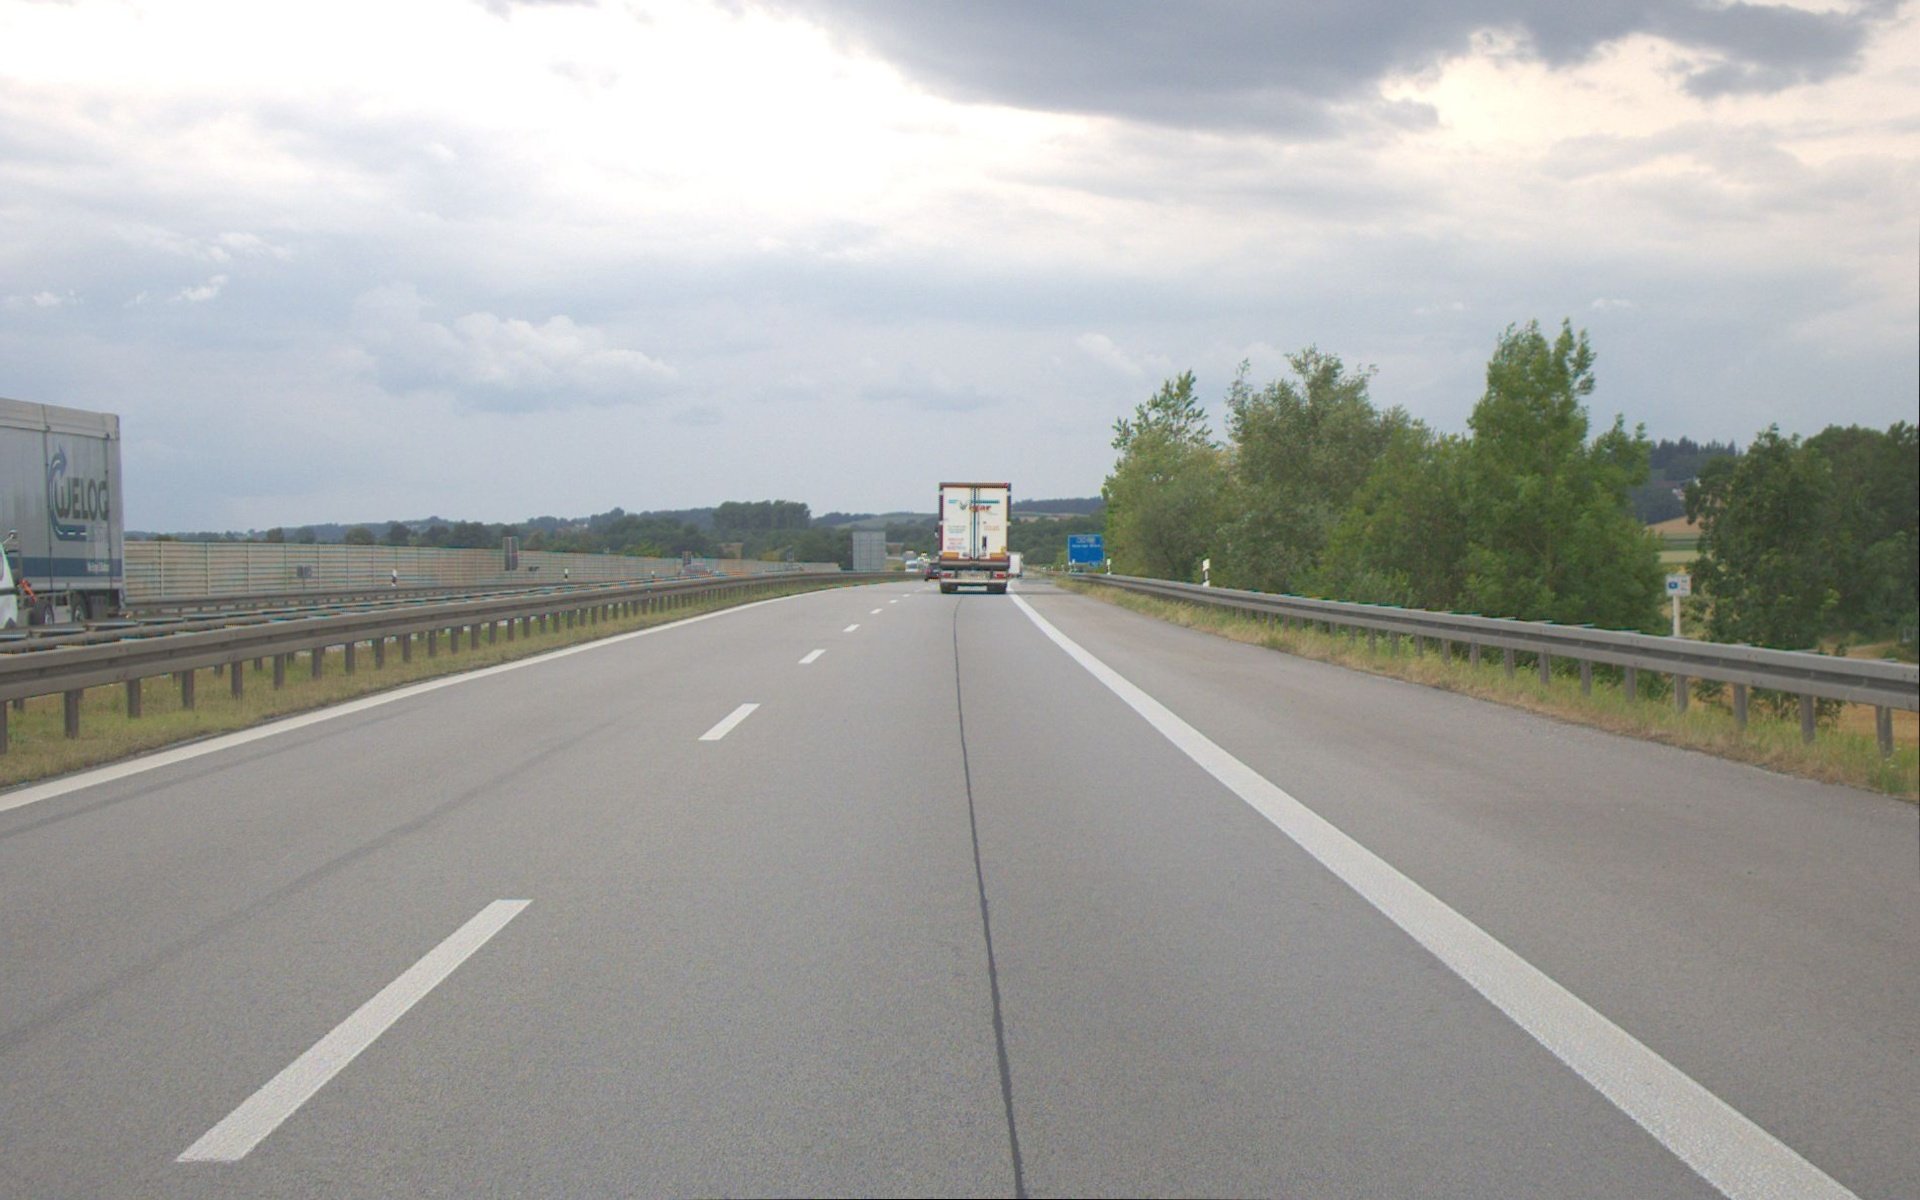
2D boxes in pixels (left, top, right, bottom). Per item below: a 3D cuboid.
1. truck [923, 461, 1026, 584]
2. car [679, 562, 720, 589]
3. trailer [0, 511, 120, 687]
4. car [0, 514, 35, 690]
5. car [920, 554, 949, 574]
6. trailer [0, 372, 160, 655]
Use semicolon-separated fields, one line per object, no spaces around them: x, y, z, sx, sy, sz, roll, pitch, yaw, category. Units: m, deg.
0.499;-2.875;131.698;3.672;4.397;16.341;0;1;0;truck
-14.048;-1.342;185.674;1.818;1.398;4.877;-1;1;0;car
-10.943;-0.077;38.923;1.814;1.840;3.863;4;1;0;trailer
-10.909;-0.028;34.888;1.814;1.840;4.181;4;1;0;car
-1.948;-2.727;258.661;1.993;1.415;4.001;1;2;-3;car
-15.399;-1.242;52.220;3.179;4.062;14.025;-2;1;0;trailer
